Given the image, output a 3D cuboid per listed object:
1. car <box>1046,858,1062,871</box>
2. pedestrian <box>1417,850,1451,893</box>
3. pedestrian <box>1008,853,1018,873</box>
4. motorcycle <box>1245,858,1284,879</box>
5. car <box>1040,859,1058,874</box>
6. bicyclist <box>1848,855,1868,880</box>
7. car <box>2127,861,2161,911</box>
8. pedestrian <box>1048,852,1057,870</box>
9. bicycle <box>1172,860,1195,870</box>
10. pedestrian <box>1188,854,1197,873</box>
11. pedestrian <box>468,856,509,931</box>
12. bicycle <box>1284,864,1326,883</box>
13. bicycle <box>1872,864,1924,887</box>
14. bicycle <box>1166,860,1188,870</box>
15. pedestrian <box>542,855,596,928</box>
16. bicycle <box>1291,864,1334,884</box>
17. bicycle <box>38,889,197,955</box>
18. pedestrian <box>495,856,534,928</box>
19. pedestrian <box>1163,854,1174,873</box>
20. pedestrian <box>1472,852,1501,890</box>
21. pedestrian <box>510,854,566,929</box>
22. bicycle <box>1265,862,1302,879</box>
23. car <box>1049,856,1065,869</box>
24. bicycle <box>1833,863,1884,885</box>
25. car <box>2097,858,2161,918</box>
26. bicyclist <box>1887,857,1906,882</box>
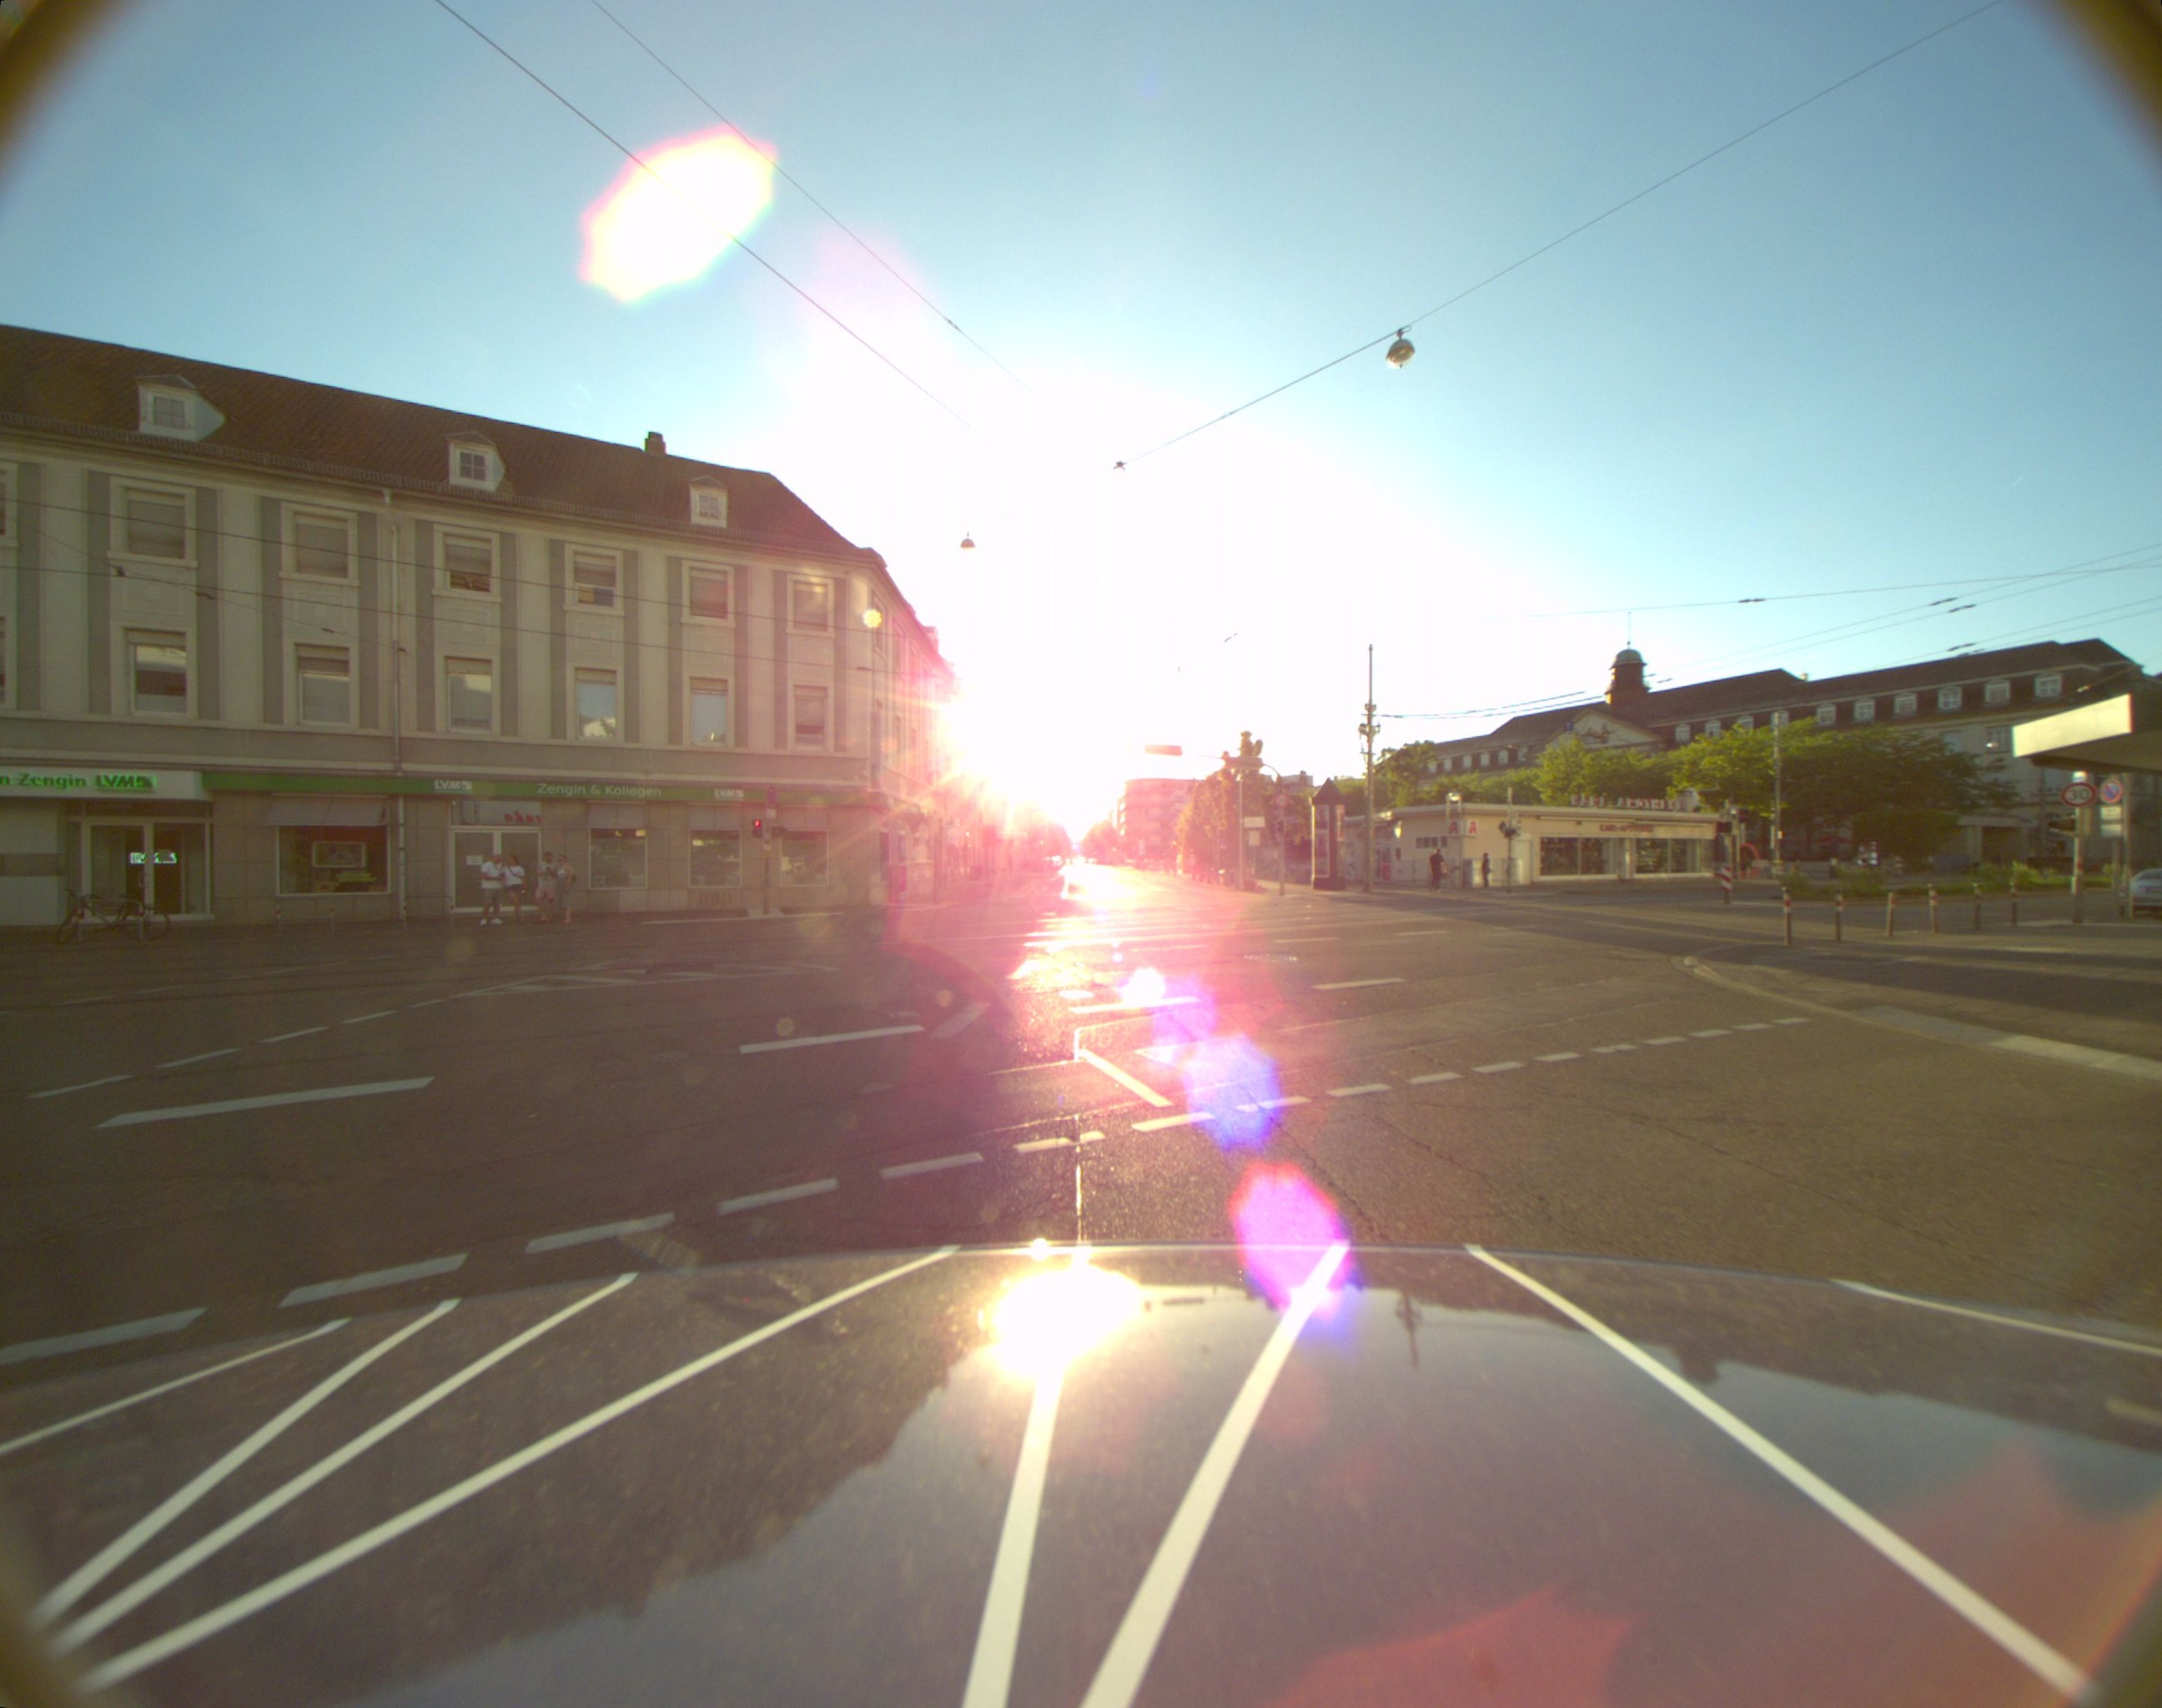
[{"bbox_3d":[-3.640,1.407,102.222,1.998,1.538,4.508,-1,1,0],"label":"car"},{"bbox_3d":[14.772,0.715,31.792,0.908,1.774,0.879,-2,1,-22],"label":"pedestrian"},{"bbox_3d":[-6.065,0.823,68.026,0.673,1.774,0.720,1,2,-17],"label":"pedestrian"},{"bbox_3d":[12.609,0.975,52.234,2.450,1.358,0.780,-1,0,5],"label":"motorcycle"},{"bbox_3d":[-3.801,1.485,90.587,1.999,1.538,4.508,-2,1,-2],"label":"car"},{"bbox_3d":[54.954,0.931,53.737,0.788,1.710,0.594,-1,1,18],"label":"bicyclist"},{"bbox_3d":[34.426,0.948,23.052,4.614,1.467,2.045,0,-1,-21],"label":"car"},{"bbox_3d":[-2.821,0.644,74.358,0.842,1.736,0.700,-2,1,-2],"label":"pedestrian"},{"bbox_3d":[11.139,1.182,82.780,2.399,0.953,0.672,-1,1,7],"label":"bicycle"},{"bbox_3d":[10.043,0.863,68.424,0.778,1.667,0.907,-1,1,7],"label":"pedestrian"},{"bbox_3d":[-14.526,0.949,18.624,0.688,1.761,0.763,-3,2,-41],"label":"pedestrian"},{"bbox_3d":[13.011,1.125,44.203,2.222,1.081,0.779,-1,1,-7],"label":"bicycle"},{"bbox_3d":[55.312,1.457,51.463,2.414,1.477,0.616,-1,1,18],"label":"bicycle"},{"bbox_3d":[10.804,1.242,85.496,2.399,1.065,0.672,-1,1,7],"label":"bicycle"},{"bbox_3d":[-12.811,0.918,19.055,0.780,1.761,0.905,-2,1,-12],"label":"pedestrian"},{"bbox_3d":[13.138,1.119,43.084,2.197,1.081,0.779,0,1,-7],"label":"bicycle"},{"bbox_3d":[-19.385,1.349,15.341,1.874,1.177,0.695,-2,1,-19],"label":"bicycle"},{"bbox_3d":[-14.225,0.934,19.072,0.685,1.761,0.628,-3,2,-41],"label":"pedestrian"},{"bbox_3d":[8.218,0.892,71.236,0.905,1.667,0.780,-1,1,11],"label":"pedestrian"},{"bbox_3d":[18.504,0.769,34.671,0.781,1.667,0.904,-2,2,-35],"label":"pedestrian"},{"bbox_3d":[-13.596,0.918,19.056,0.780,1.802,0.905,-2,1,-12],"label":"pedestrian"},{"bbox_3d":[13.046,1.052,48.999,2.181,1.081,0.779,1,1,-1],"label":"bicycle"},{"bbox_3d":[-3.407,1.185,108.065,1.998,1.638,4.508,-1,1,0],"label":"car"},{"bbox_3d":[54.986,1.424,53.745,2.495,1.477,0.594,-1,1,18],"label":"bicycle"},{"bbox_3d":[30.291,0.892,20.811,4.305,1.565,1.797,0,-1,-20],"label":"car"},{"bbox_3d":[55.252,1.047,51.455,0.654,1.702,0.621,-1,1,18],"label":"bicyclist"}]
